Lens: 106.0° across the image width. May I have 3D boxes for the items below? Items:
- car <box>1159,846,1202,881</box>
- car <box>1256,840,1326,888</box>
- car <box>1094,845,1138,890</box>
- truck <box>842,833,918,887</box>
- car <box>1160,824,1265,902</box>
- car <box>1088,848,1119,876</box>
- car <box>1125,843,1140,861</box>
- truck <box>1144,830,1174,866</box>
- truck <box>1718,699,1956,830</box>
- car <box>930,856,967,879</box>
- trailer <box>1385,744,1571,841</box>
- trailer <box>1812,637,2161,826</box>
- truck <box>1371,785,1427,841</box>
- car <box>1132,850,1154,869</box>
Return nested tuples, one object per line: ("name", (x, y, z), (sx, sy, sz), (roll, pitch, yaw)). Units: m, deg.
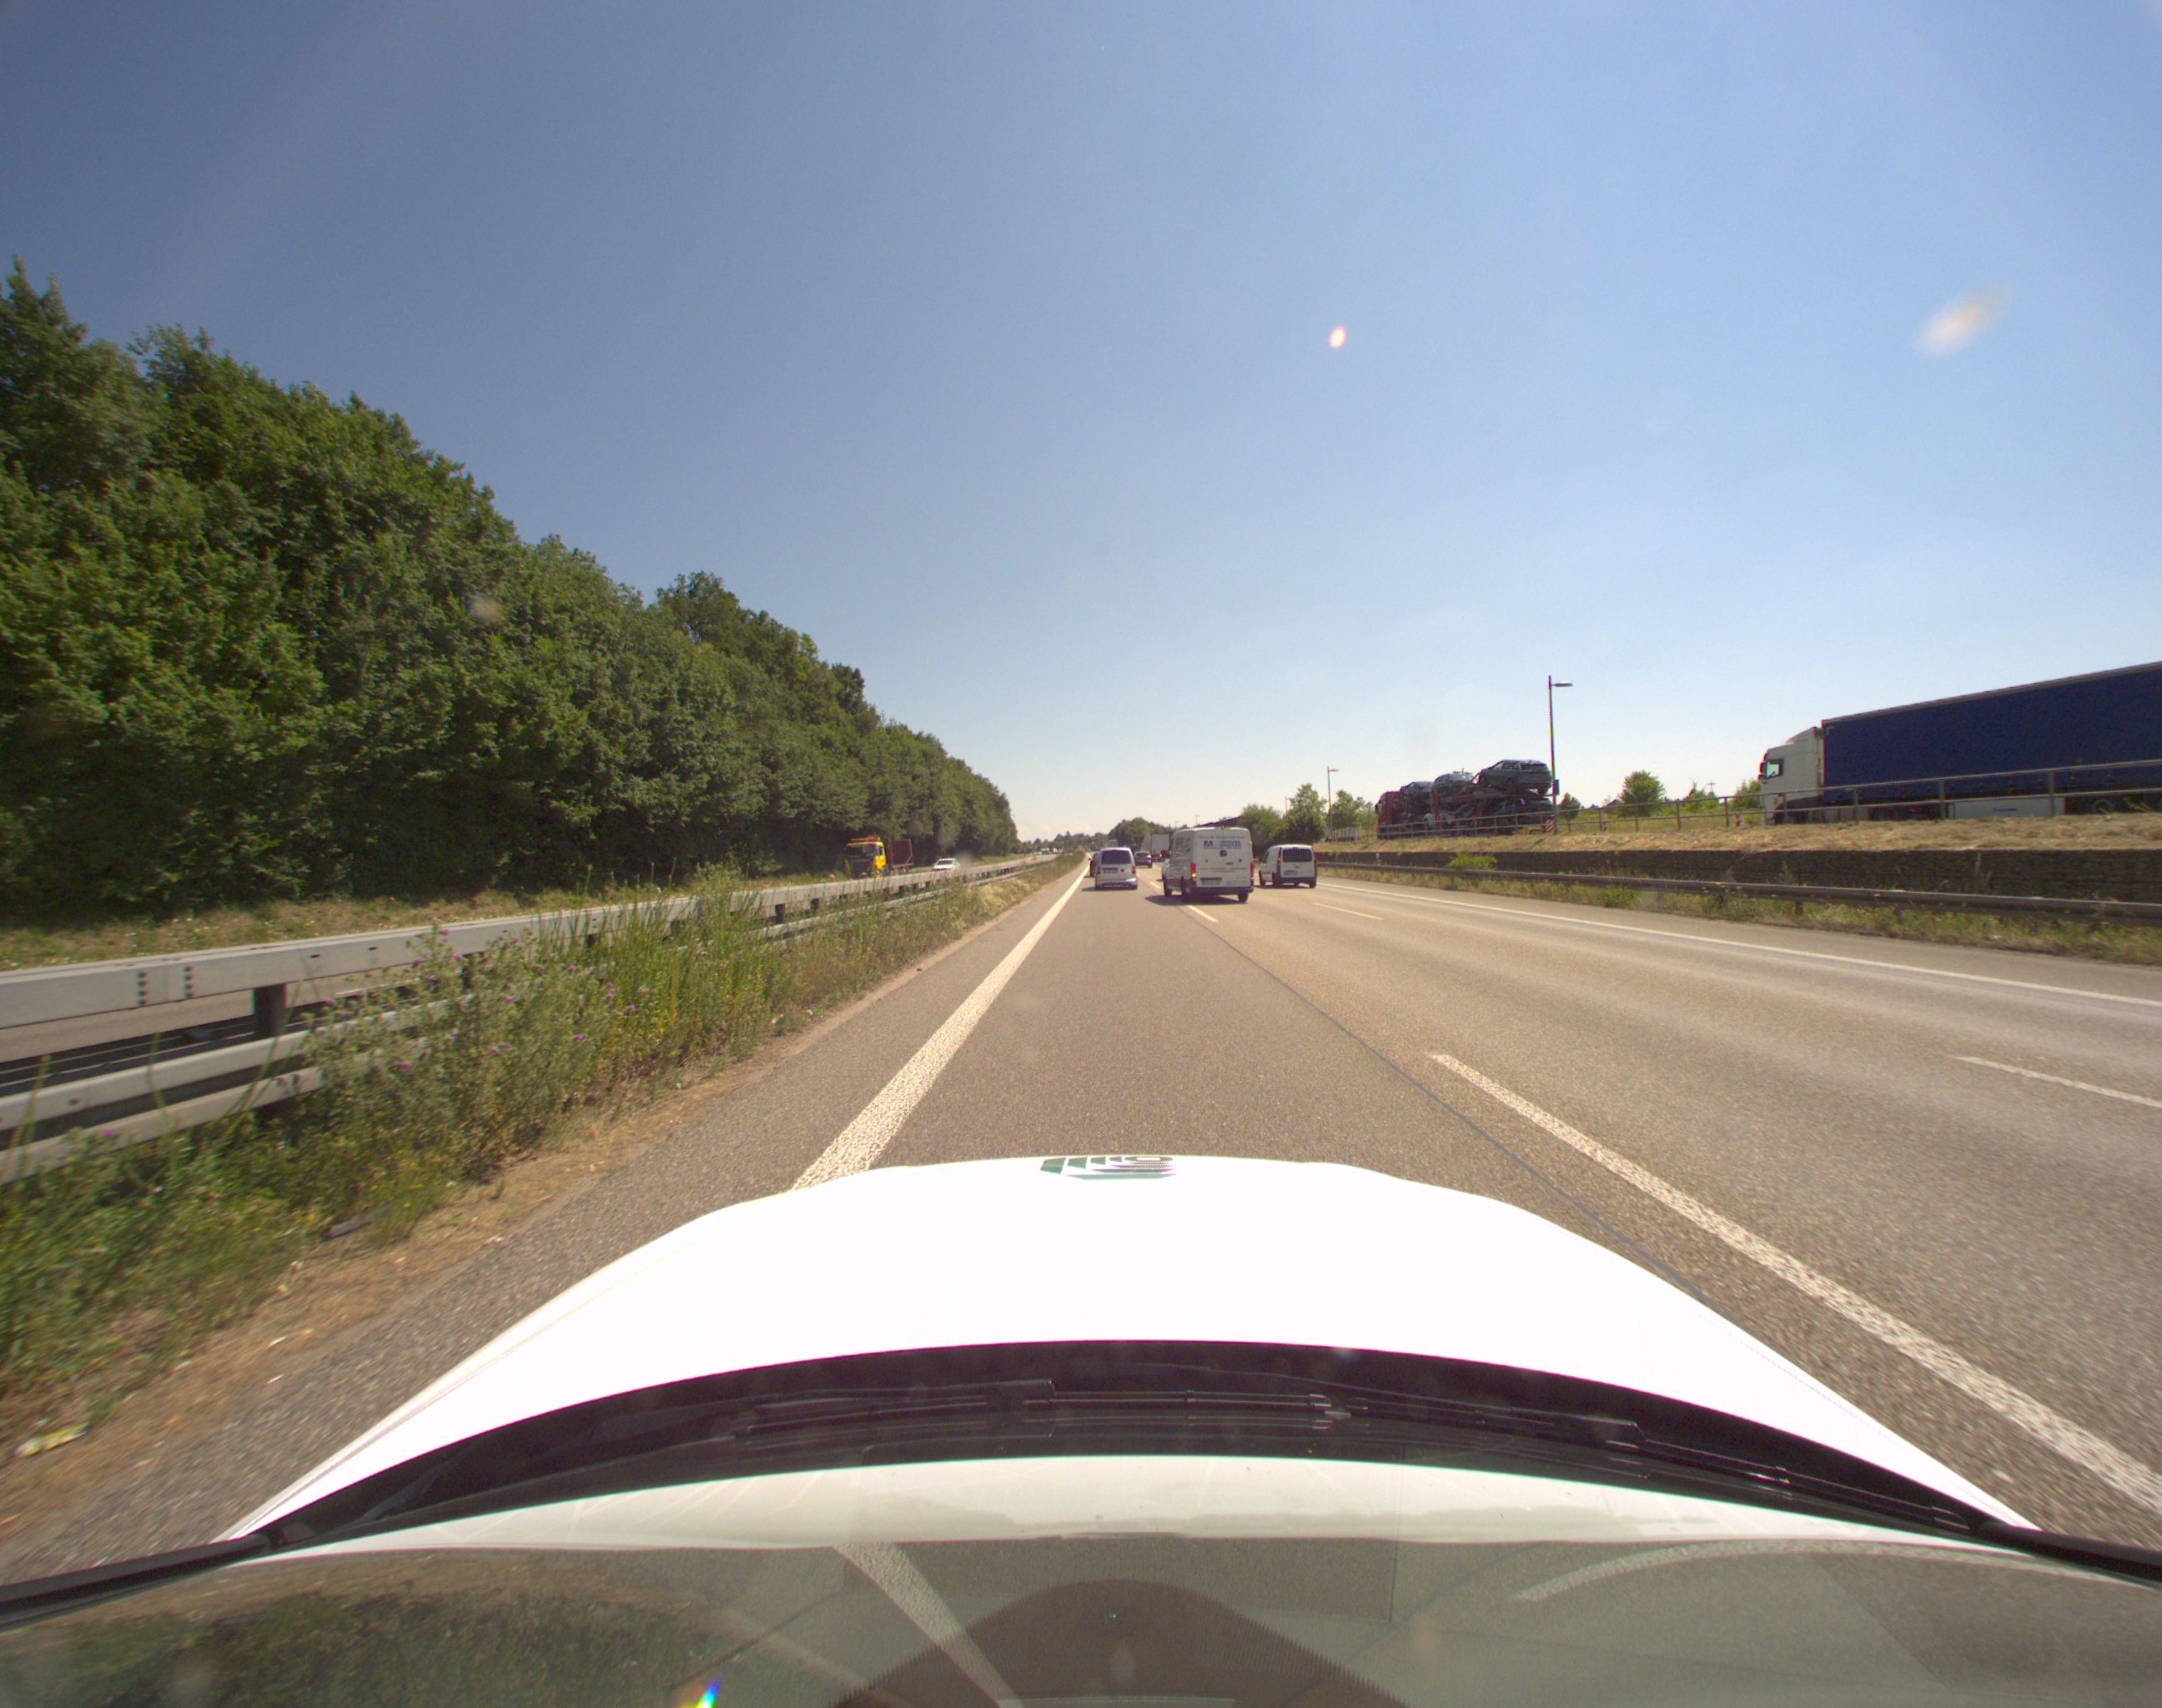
("car", (5.344, 0.488, 43.997), (1.968, 1.733, 4.092), (-2, 0, 3))
("car", (8.896, 0.407, 34.894), (1.944, 1.838, 4.179), (-2, 0, 1))
("car", (1.529, 0.570, 35.181), (1.738, 1.764, 4.092), (-2, 0, 3))
("truck", (-15.069, 0.445, 61.986), (2.773, 3.738, 11.159), (0, 0, 1))
("car", (4.102, 0.267, 26.459), (2.177, 2.254, 5.355), (-1, 0, -4))
("car", (1.492, 0.510, 52.673), (1.737, 1.701, 4.092), (-2, 0, 3))
("car", (6.009, -0.223, 94.716), (1.667, 1.891, 4.092), (-2, 0, 3))
("truck", (11.230, -0.760, 118.090), (3.772, 5.000, 12.528), (0, 0, 3))
("truck", (27.651, -3.071, 30.292), (3.040, 4.083, 6.402), (0, 0, 2))
("car", (-11.214, 1.119, 69.078), (1.986, 1.670, 5.612), (-4, 0, 1))
("trailer", (22.713, -3.134, 48.769), (2.596, 4.258, 18.427), (0, 0, 2))
("trailer", (27.266, -3.108, 21.858), (3.040, 4.083, 14.267), (0, 0, 3))
("truck", (23.010, -2.919, 59.120), (2.593, 3.827, 4.001), (0, -1, 1))
("car", (5.892, 0.560, 77.705), (1.894, 1.672, 4.092), (-2, 0, 3))
